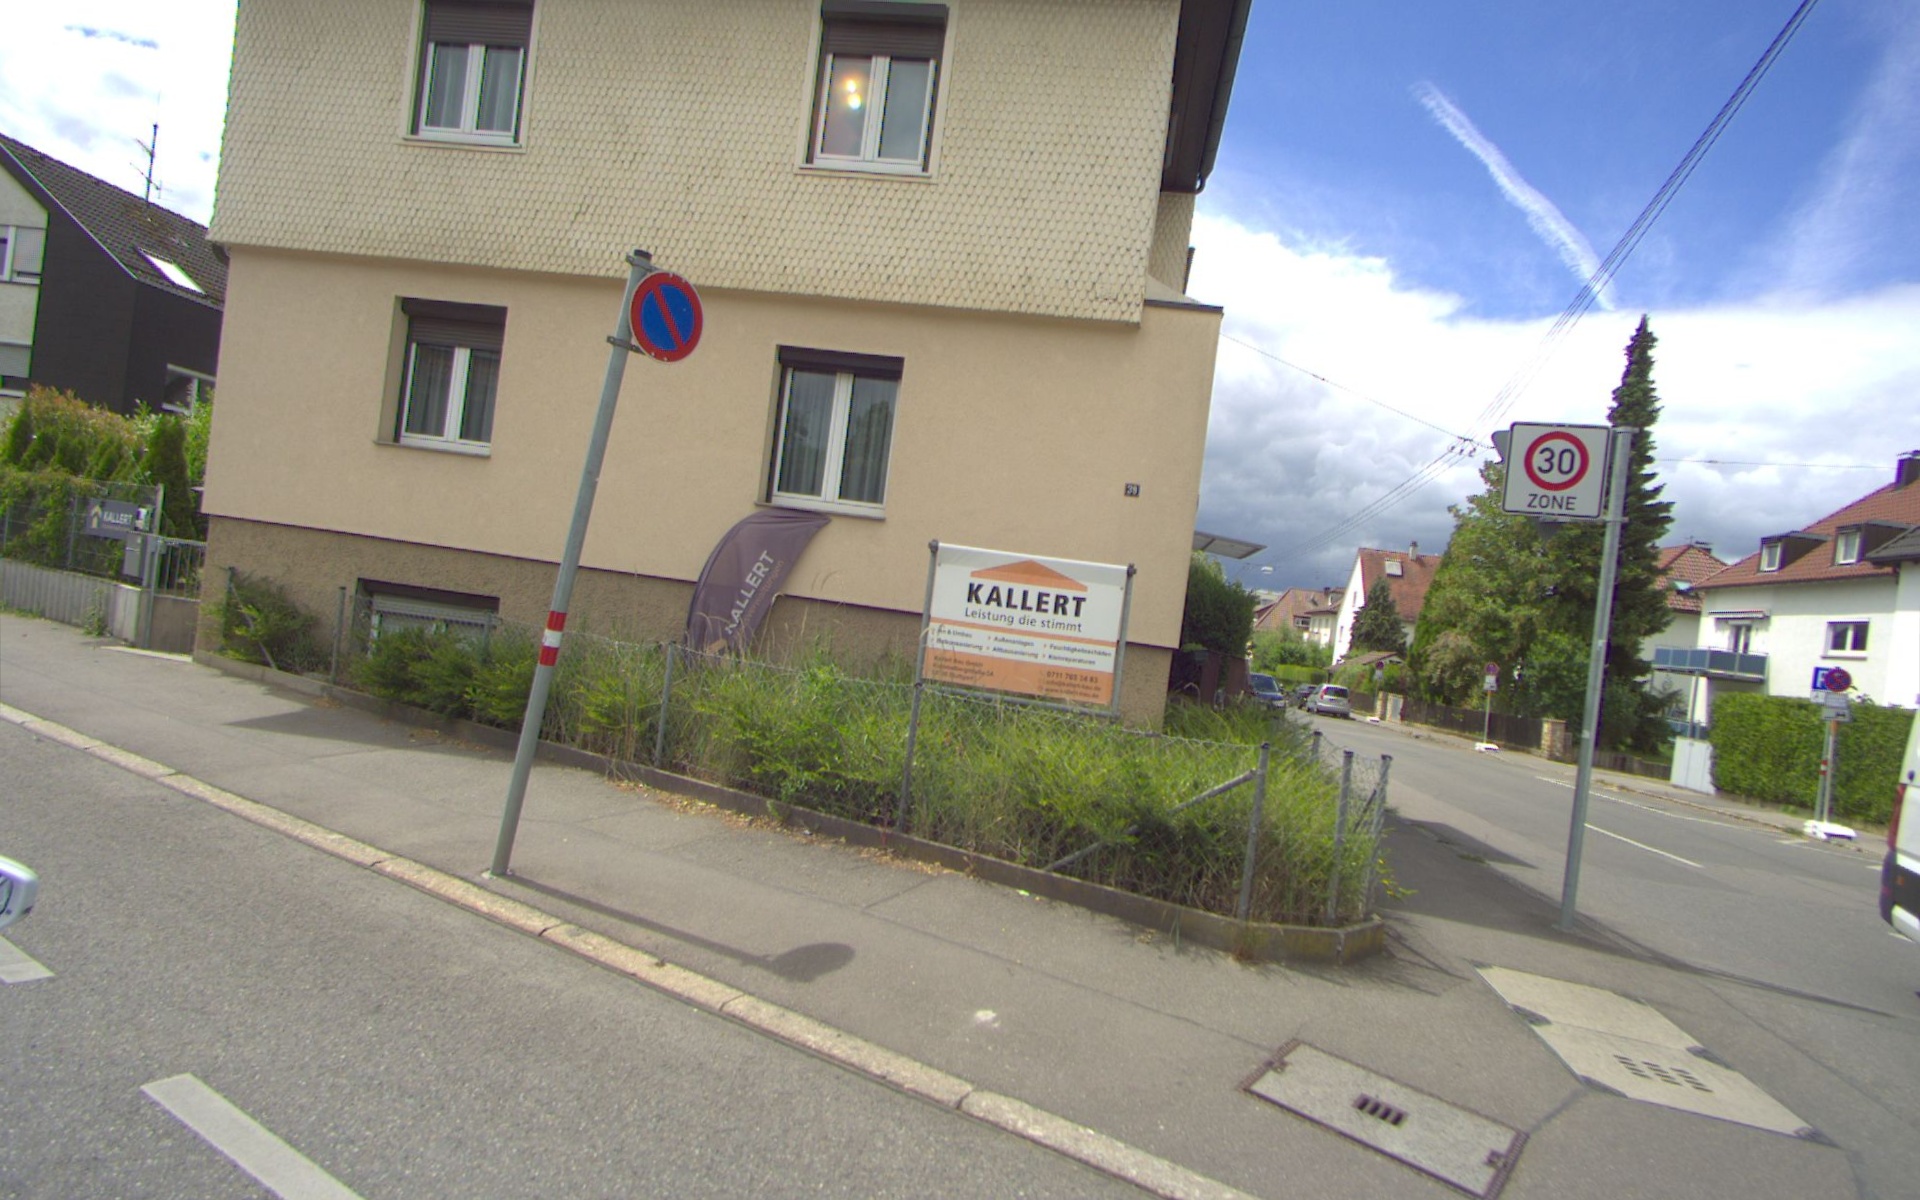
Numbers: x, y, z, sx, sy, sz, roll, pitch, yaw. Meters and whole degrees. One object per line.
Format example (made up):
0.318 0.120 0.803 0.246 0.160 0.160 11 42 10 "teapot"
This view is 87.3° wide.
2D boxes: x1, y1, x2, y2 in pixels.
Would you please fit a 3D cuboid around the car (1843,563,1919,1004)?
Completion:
5.788 0.993 3.536 1.964 2.612 6.015 7 -1 23 "car"

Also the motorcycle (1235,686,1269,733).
7.925 2.945 27.300 0.521 1.172 1.760 6 -1 25 "motorcycle"

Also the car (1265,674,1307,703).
20.849 5.634 64.418 1.672 1.561 4.005 6 -2 7 "car"

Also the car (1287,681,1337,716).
19.687 5.497 56.466 1.672 1.561 4.005 6 -2 7 "car"

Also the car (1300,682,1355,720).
18.965 5.183 52.035 1.672 1.561 4.005 6 -2 7 "car"

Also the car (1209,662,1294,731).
8.728 2.833 30.399 1.672 1.681 4.004 6 -2 7 "car"
